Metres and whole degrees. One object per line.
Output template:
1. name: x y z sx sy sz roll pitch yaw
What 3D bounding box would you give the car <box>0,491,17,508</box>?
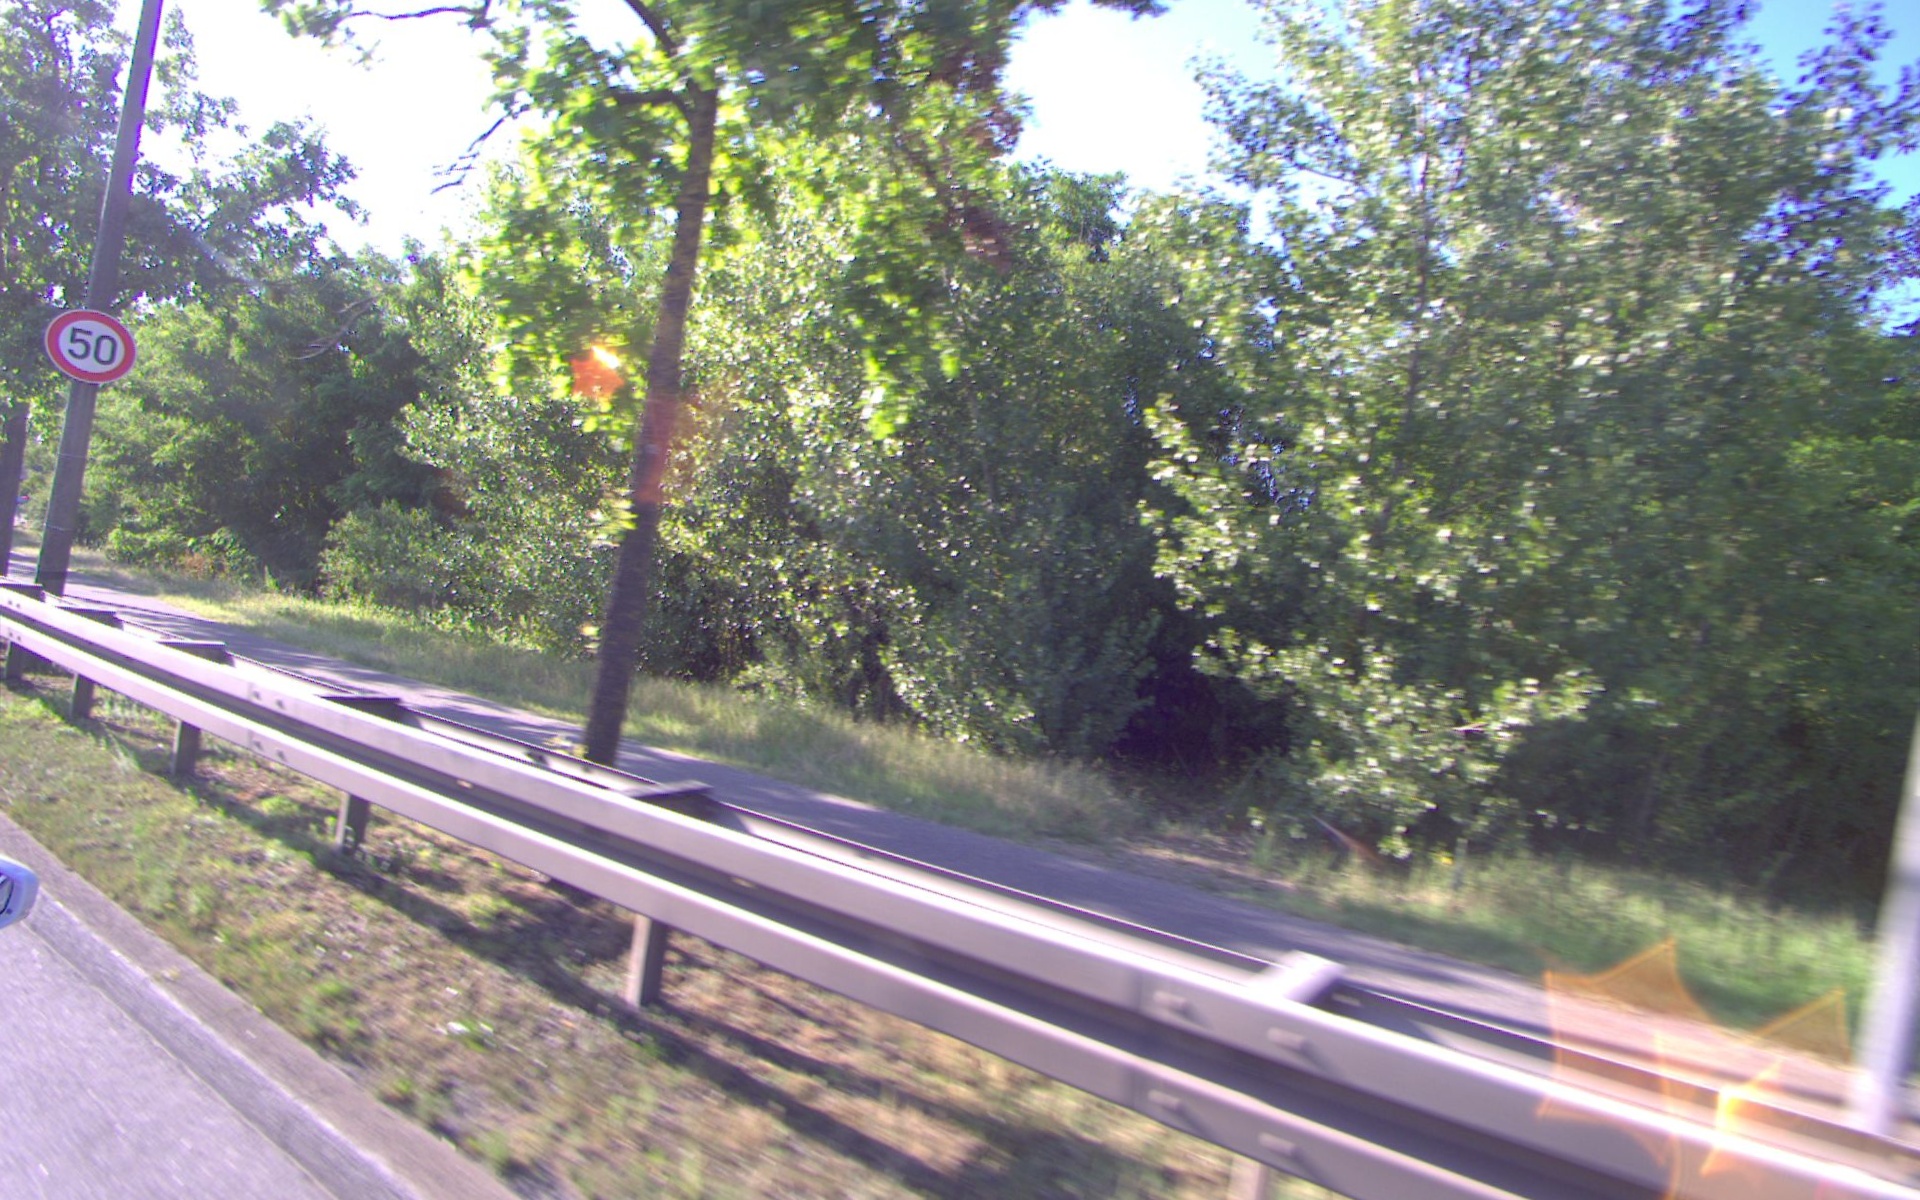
1. car: -92.110 -9.683 95.886 1.726 1.471 4.576 10 -1 -25

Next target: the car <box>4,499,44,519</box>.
1. car: -95.161 -9.227 102.294 1.758 1.512 3.807 9 -1 -26

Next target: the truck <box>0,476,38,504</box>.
1. truck: -106.412 -12.421 113.009 2.009 2.585 5.510 10 -2 -22
